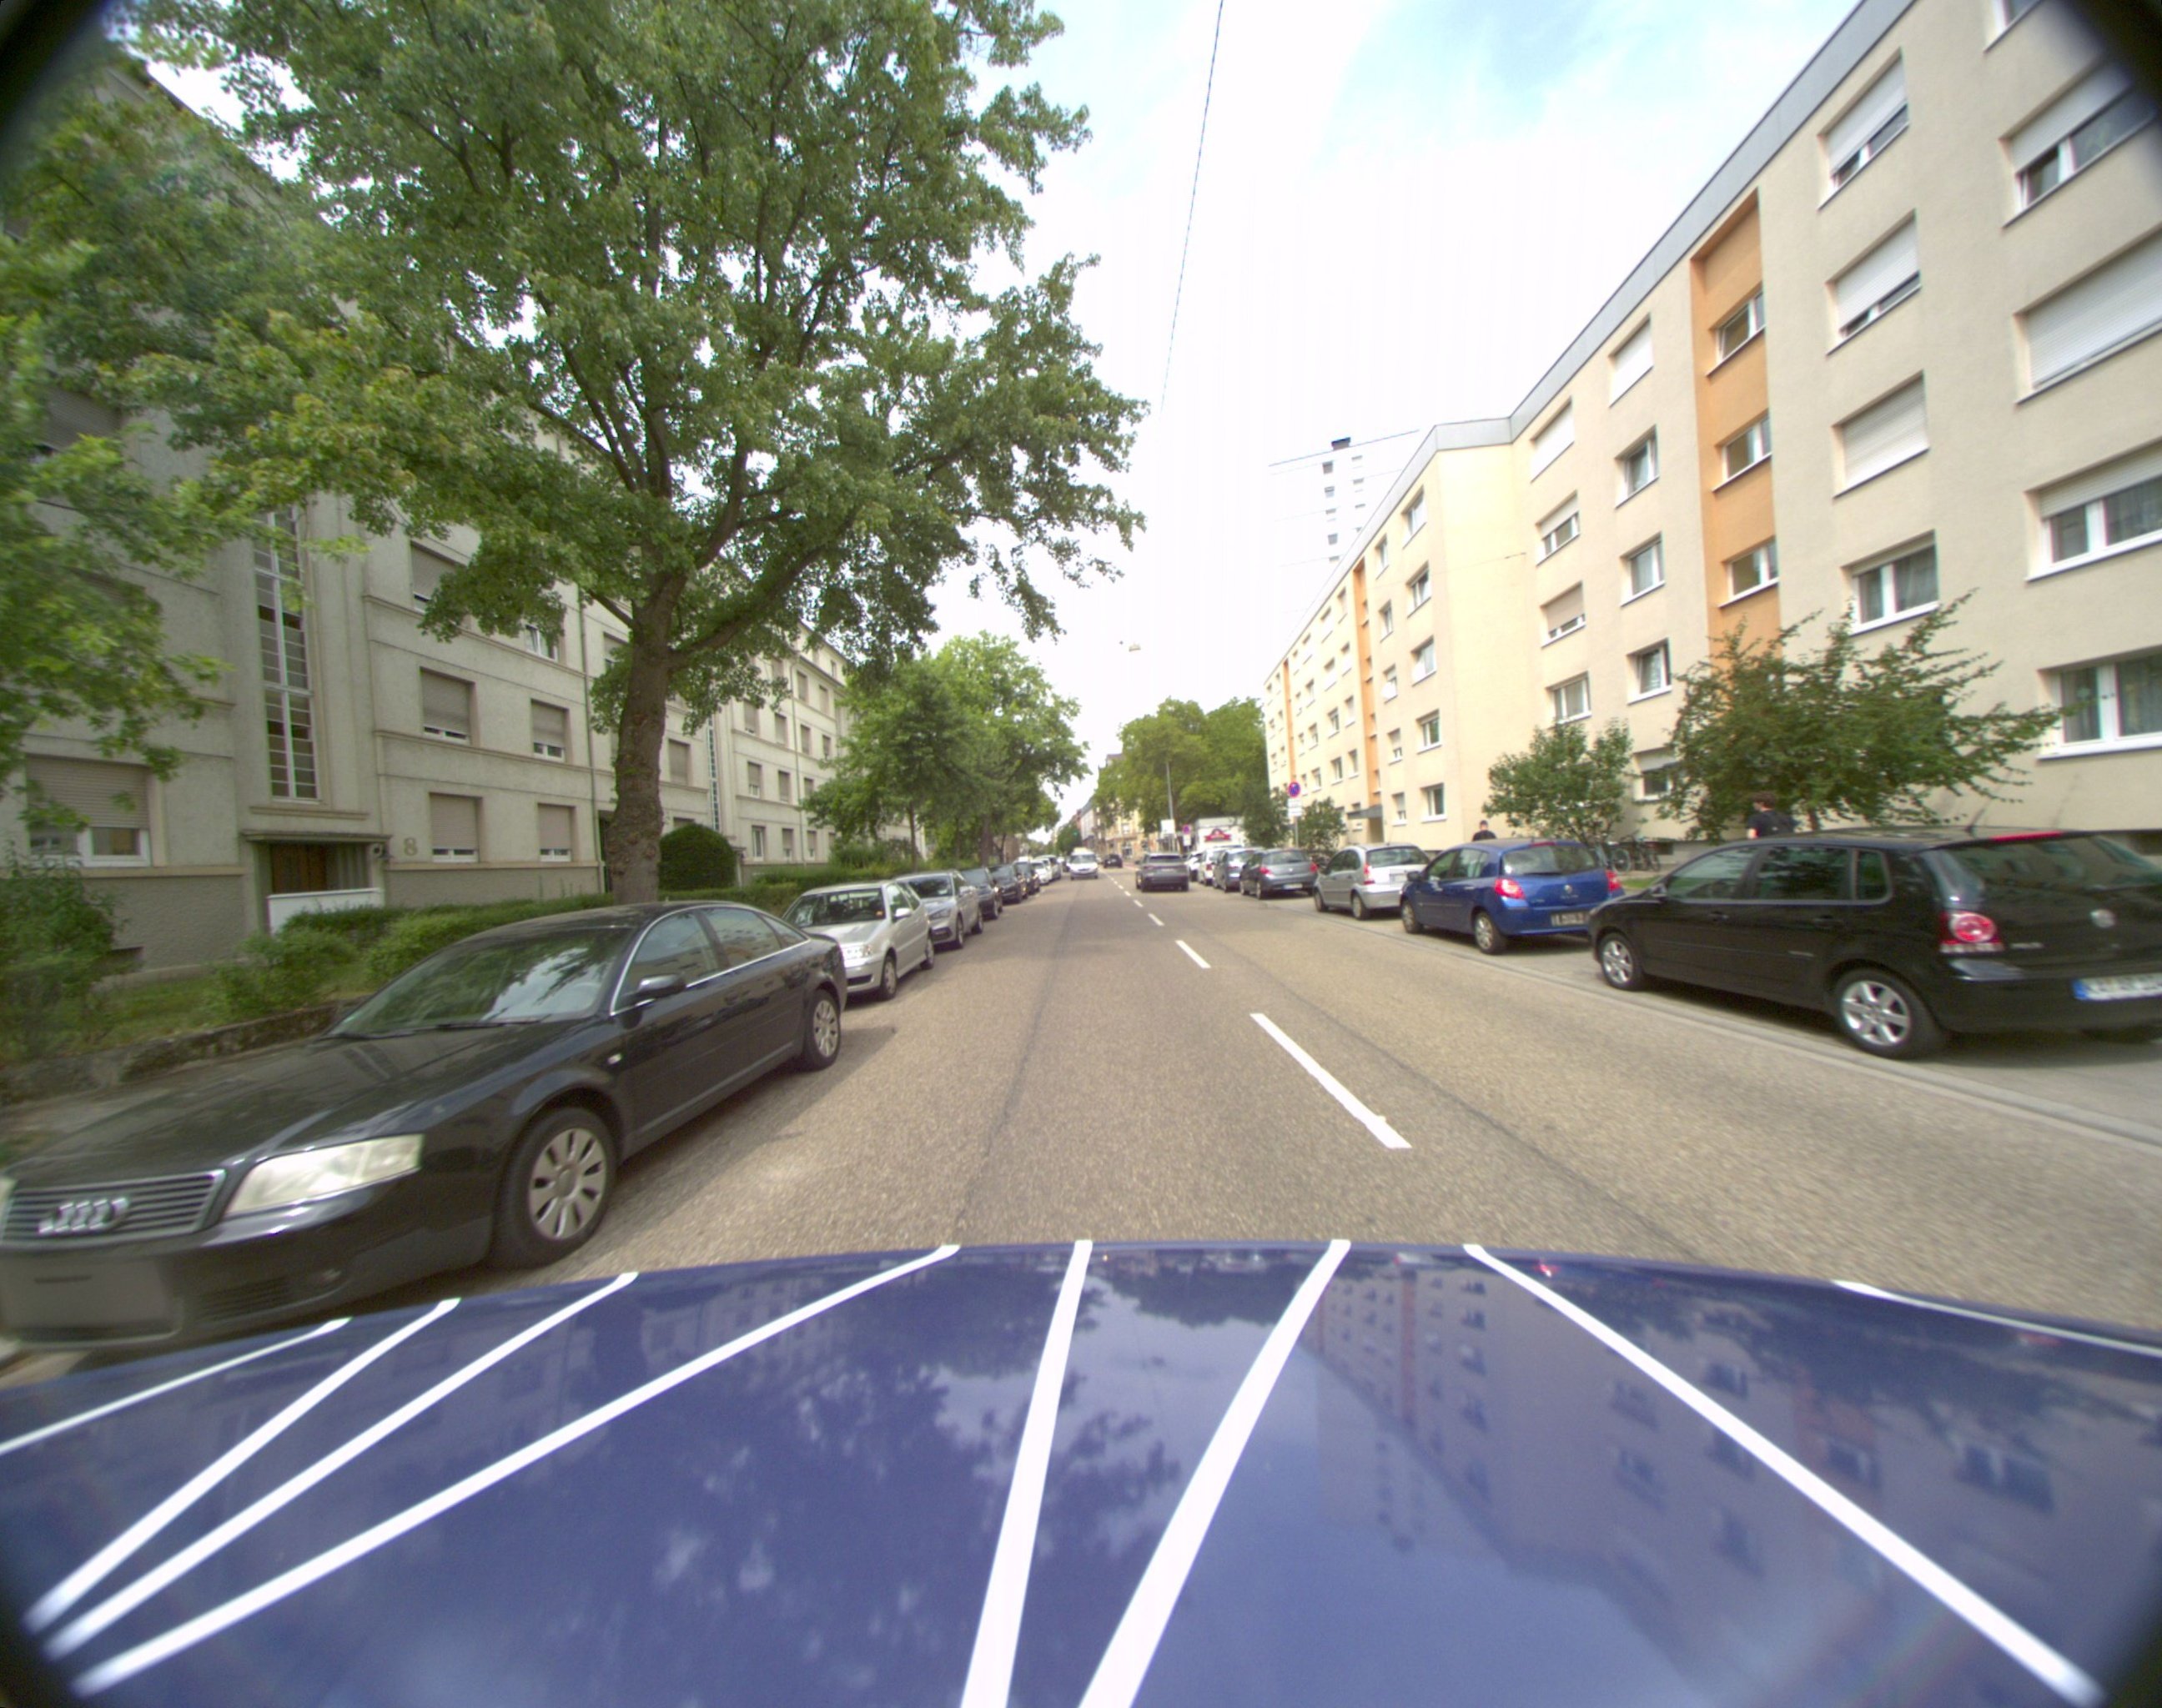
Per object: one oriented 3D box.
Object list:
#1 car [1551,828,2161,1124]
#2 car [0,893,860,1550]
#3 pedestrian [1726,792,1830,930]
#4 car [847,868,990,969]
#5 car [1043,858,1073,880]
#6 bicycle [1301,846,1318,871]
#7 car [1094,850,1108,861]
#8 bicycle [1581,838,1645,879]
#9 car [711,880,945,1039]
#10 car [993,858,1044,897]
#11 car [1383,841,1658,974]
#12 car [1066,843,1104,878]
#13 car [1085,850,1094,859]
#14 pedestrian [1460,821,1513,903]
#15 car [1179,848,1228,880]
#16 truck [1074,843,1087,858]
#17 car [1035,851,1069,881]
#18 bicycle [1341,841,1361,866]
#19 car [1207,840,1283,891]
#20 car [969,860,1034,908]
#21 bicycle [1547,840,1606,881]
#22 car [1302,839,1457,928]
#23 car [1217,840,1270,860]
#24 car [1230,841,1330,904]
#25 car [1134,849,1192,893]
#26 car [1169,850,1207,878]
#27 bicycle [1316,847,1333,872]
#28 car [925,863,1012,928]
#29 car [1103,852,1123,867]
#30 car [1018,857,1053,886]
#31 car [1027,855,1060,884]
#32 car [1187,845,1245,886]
[{"bbox_3d":[5.968,0.643,6.130,1.822,1.474,4.116,-5,0,2],"label":"car"},{"bbox_3d":[-3.020,1.154,4.356,1.784,1.461,4.615,-5,0,4],"label":"car"},{"bbox_3d":[9.548,0.091,10.439,0.621,1.802,0.803,-3,1,-2],"label":"pedestrian"},{"bbox_3d":[-3.002,1.117,15.061,1.701,1.461,4.717,-5,0,0],"label":"car"},{"bbox_3d":[-1.713,1.096,58.203,1.922,1.436,4.239,-5,0,2],"label":"car"},{"bbox_3d":[11.760,0.244,39.150,0.580,1.243,1.935,-4,-1,11],"label":"bicycle"},{"bbox_3d":[2.868,0.257,108.552,1.848,1.442,4.185,-2,0,1],"label":"car"},{"bbox_3d":[13.702,0.102,19.611,0.441,0.980,1.674,-5,0,1],"label":"bicycle"},{"bbox_3d":[-3.037,1.191,10.024,1.674,1.392,3.851,-6,0,0],"label":"car"},{"bbox_3d":[-2.694,0.997,33.535,1.701,1.461,4.101,-5,0,1],"label":"car"},{"bbox_3d":[6.099,0.649,11.152,1.822,1.474,3.885,-5,0,3],"label":"car"},{"bbox_3d":[0.203,0.448,49.310,2.082,2.039,4.679,-3,0,-2],"label":"car"},{"bbox_3d":[1.610,0.133,142.915,1.701,1.509,4.000,-2,0,0],"label":"car"},{"bbox_3d":[9.399,0.184,17.628,0.621,1.802,0.899,-5,1,-2],"label":"pedestrian"},{"bbox_3d":[6.288,0.493,39.478,1.713,1.464,3.989,-5,0,-1],"label":"car"},{"bbox_3d":[-0.084,-0.709,160.523,2.548,3.089,7.019,-2,0,-2],"label":"truck"},{"bbox_3d":[-1.997,0.771,53.493,1.922,1.854,4.846,-5,0,2],"label":"car"},{"bbox_3d":[13.750,-0.027,38.793,0.556,1.243,1.919,-4,-1,9],"label":"bicycle"},{"bbox_3d":[6.166,0.398,29.112,1.947,1.603,4.862,-5,0,2],"label":"car"},{"bbox_3d":[-2.883,1.041,28.362,1.701,1.461,4.560,-5,0,1],"label":"car"},{"bbox_3d":[12.888,0.161,19.813,0.441,0.980,1.616,-5,0,1],"label":"bicycle"},{"bbox_3d":[6.202,0.557,16.288,1.674,1.552,3.851,-5,0,0],"label":"car"},{"bbox_3d":[15.028,-0.344,70.429,4.640,1.676,1.850,-2,0,7],"label":"car"},{"bbox_3d":[6.071,0.517,23.675,1.947,1.603,4.302,-5,0,1],"label":"car"},{"bbox_3d":[3.256,0.656,31.032,1.823,1.576,4.436,-3,0,0],"label":"car"},{"bbox_3d":[6.306,0.546,45.014,1.712,1.464,3.989,-5,0,2],"label":"car"},{"bbox_3d":[12.497,0.276,38.977,0.537,1.243,2.046,-4,-1,11],"label":"bicycle"},{"bbox_3d":[-3.059,1.088,21.672,1.701,1.461,4.753,-5,0,-1],"label":"car"},{"bbox_3d":[3.413,0.574,82.015,1.956,1.512,4.613,-1,0,1],"label":"car"},{"bbox_3d":[-2.578,0.958,43.690,1.701,1.441,4.101,-4,0,-1],"label":"car"},{"bbox_3d":[-2.355,0.937,48.585,1.608,1.598,3.805,-5,0,2],"label":"car"},{"bbox_3d":[6.017,0.494,34.331,1.701,1.603,4.477,-5,0,0],"label":"car"}]
